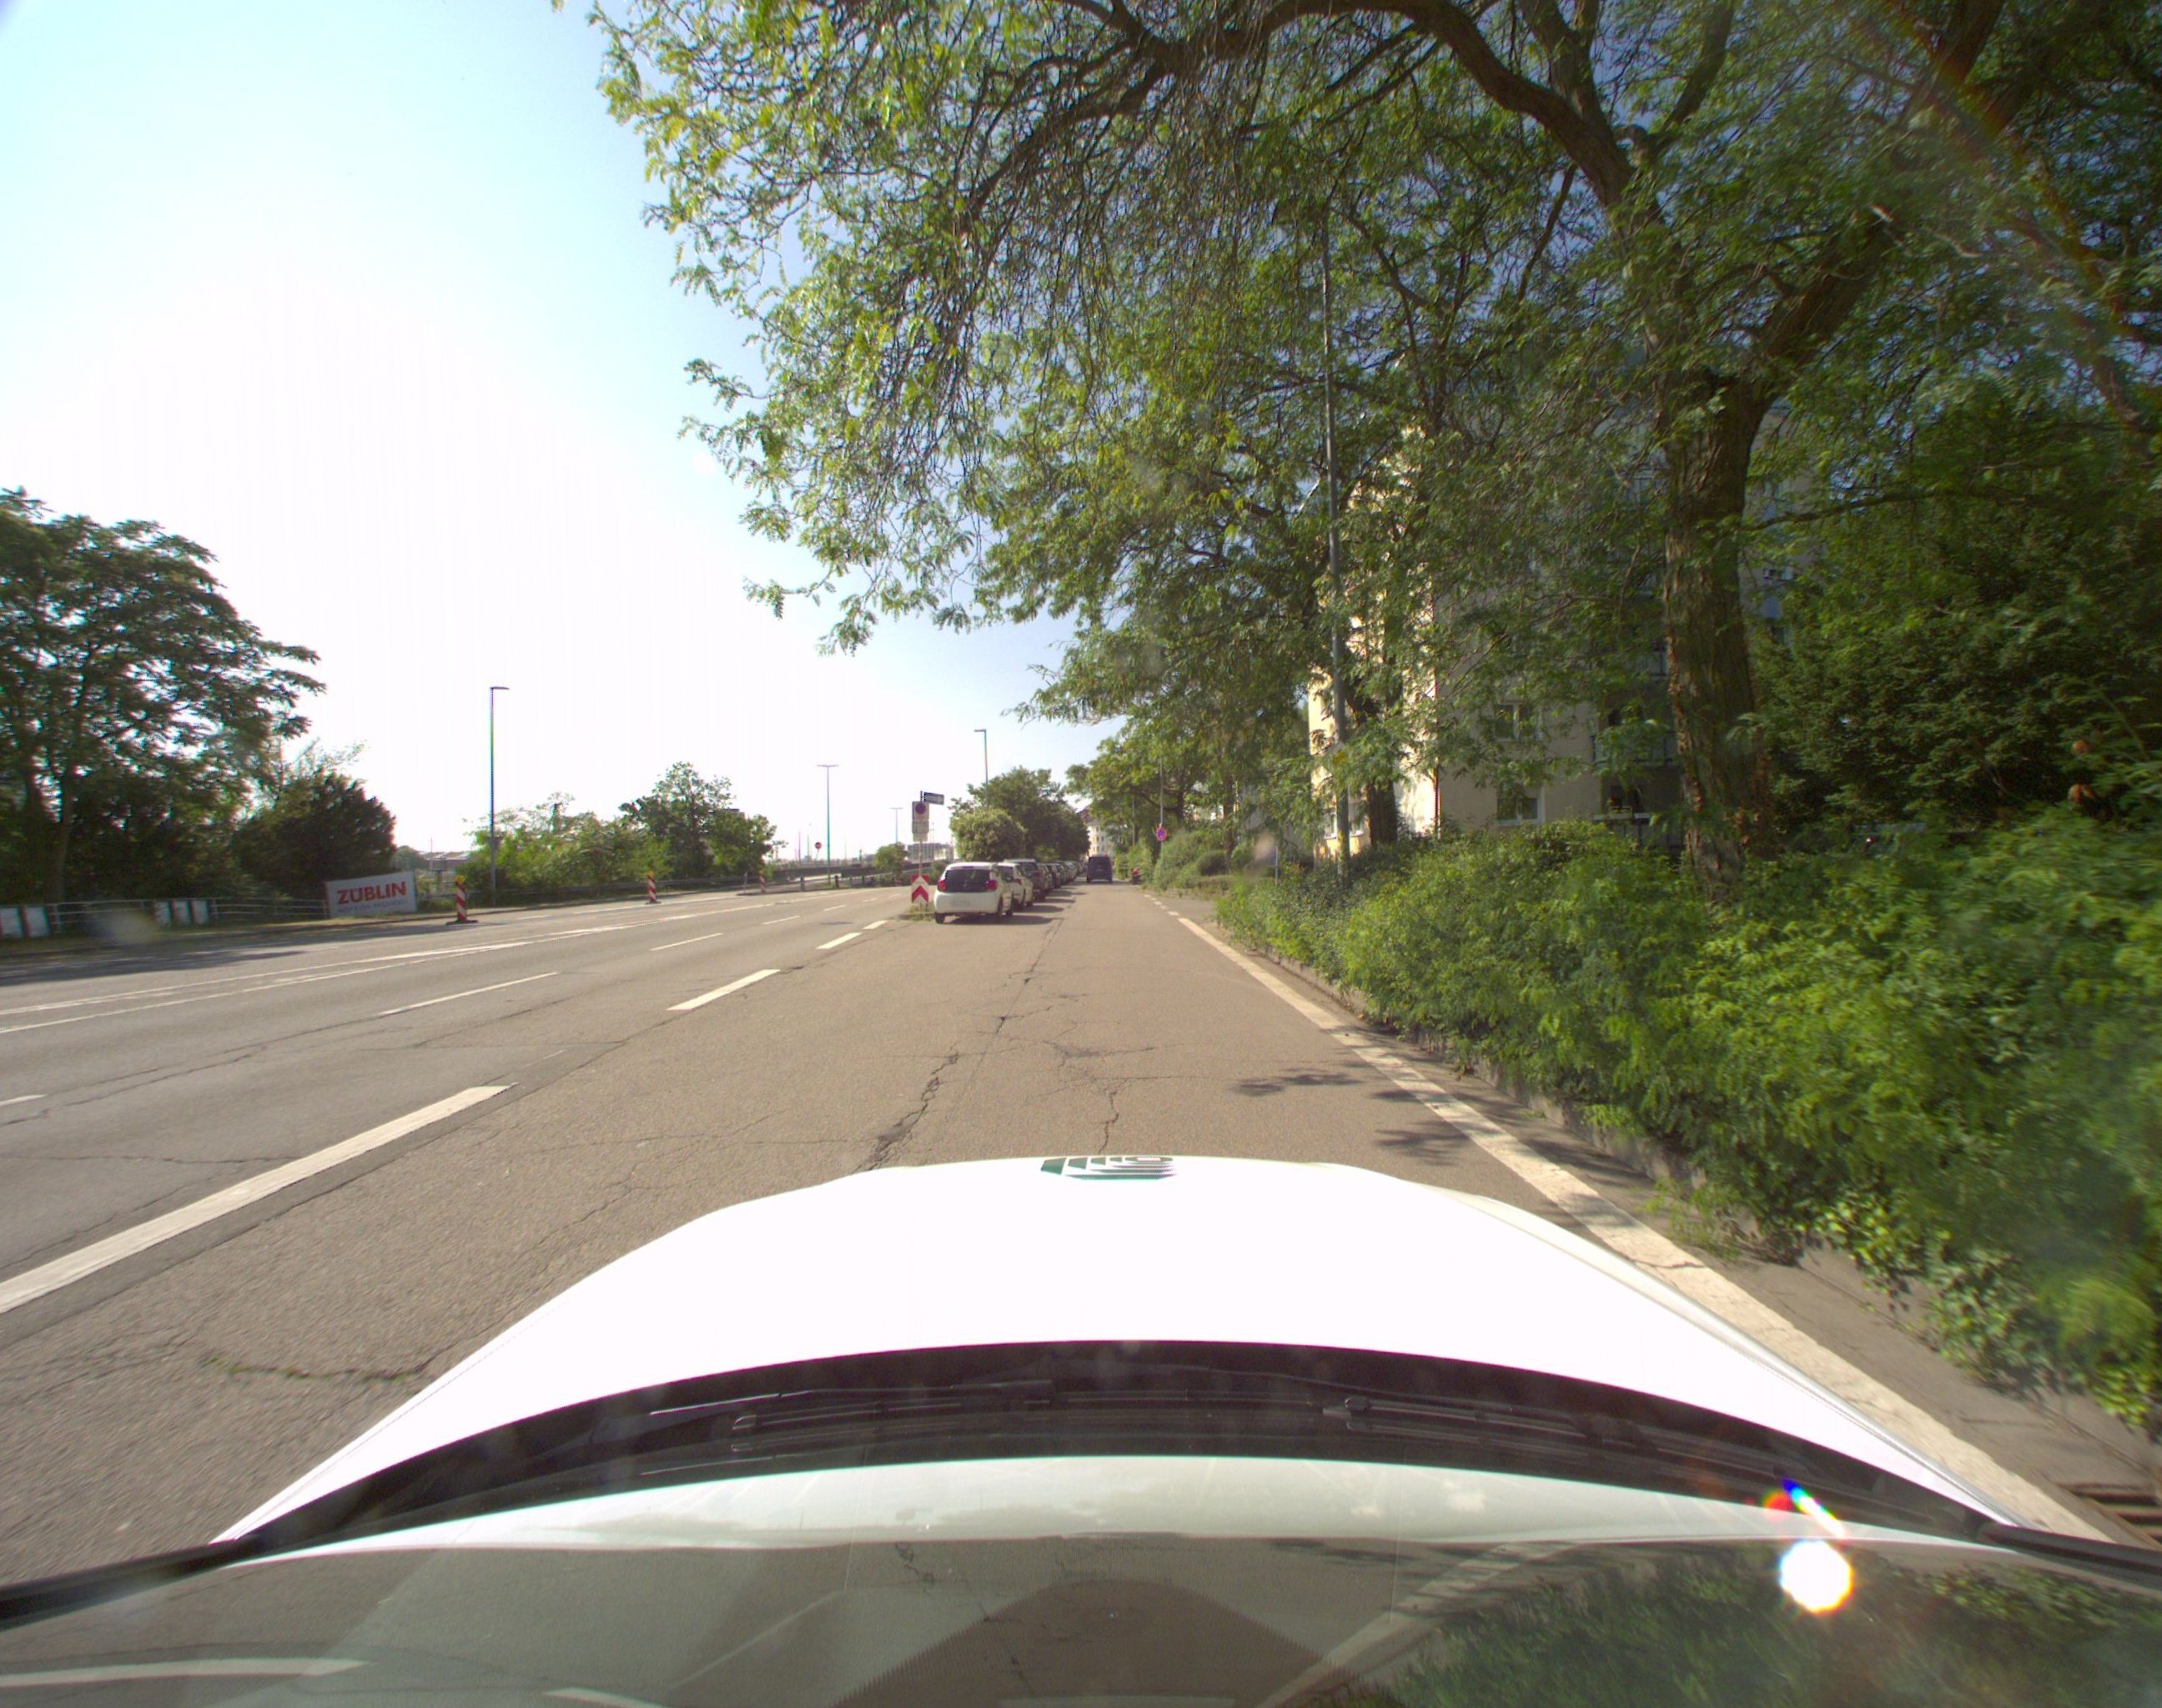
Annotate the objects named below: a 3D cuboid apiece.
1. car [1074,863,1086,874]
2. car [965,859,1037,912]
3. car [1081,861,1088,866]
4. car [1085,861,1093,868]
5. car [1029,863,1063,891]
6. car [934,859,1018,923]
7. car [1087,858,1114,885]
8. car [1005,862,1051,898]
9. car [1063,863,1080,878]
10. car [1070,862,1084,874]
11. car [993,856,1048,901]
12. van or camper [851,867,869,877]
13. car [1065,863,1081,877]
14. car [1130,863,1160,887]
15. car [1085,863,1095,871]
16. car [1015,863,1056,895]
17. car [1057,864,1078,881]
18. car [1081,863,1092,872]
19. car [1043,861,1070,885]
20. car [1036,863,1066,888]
[{"bbox_3d":[-0.119,2.038,116.904,1.657,1.510,4.010,1,0,2],"label":"car"},{"bbox_3d":[-2.431,0.933,25.767,1.715,1.505,4.134,1,0,2],"label":"car"},{"bbox_3d":[1.116,2.769,236.755,1.987,1.657,3.741,-1,-1,1],"label":"car"},{"bbox_3d":[2.019,2.690,211.792,1.987,1.657,4.000,-1,-1,1],"label":"car"},{"bbox_3d":[-1.988,1.285,46.943,1.657,1.473,3.791,1,0,2],"label":"car"},{"bbox_3d":[-2.651,0.889,21.206,1.613,1.505,3.463,-1,0,2],"label":"car"},{"bbox_3d":[1.474,1.263,59.823,1.876,1.921,4.010,1,0,2],"label":"car"},{"bbox_3d":[-2.309,1.102,36.566,1.657,1.475,3.878,1,0,2],"label":"car"},{"bbox_3d":[-1.025,1.796,89.925,1.657,1.510,4.010,1,0,2],"label":"car"},{"bbox_3d":[-0.515,1.838,105.900,1.657,1.510,4.010,-1,-1,2],"label":"car"},{"bbox_3d":[-2.242,0.885,31.252,1.766,1.579,4.185,-2,0,0],"label":"car"},{"bbox_3d":[-29.857,2.394,109.934,1.464,1.350,4.622,-1,-1,-5],"label":"van or camper"},{"bbox_3d":[-0.912,1.872,94.814,1.657,1.510,4.010,1,0,2],"label":"car"},{"bbox_3d":[4.184,1.372,54.006,1.720,1.420,4.001,-3,-1,1],"label":"car"},{"bbox_3d":[1.785,2.660,168.925,1.987,1.657,4.000,-1,-1,1],"label":"car"},{"bbox_3d":[-2.299,1.270,42.051,1.657,1.512,4.596,1,0,2],"label":"car"},{"bbox_3d":[-1.224,1.623,73.297,1.657,1.468,4.202,1,0,2],"label":"car"},{"bbox_3d":[1.073,2.694,159.128,1.987,1.657,4.000,-1,-1,1],"label":"car"},{"bbox_3d":[-1.704,1.317,57.627,1.657,1.583,3.933,-1,-1,2],"label":"car"},{"bbox_3d":[-1.900,1.387,52.882,1.657,1.512,3.791,1,0,2],"label":"car"}]
